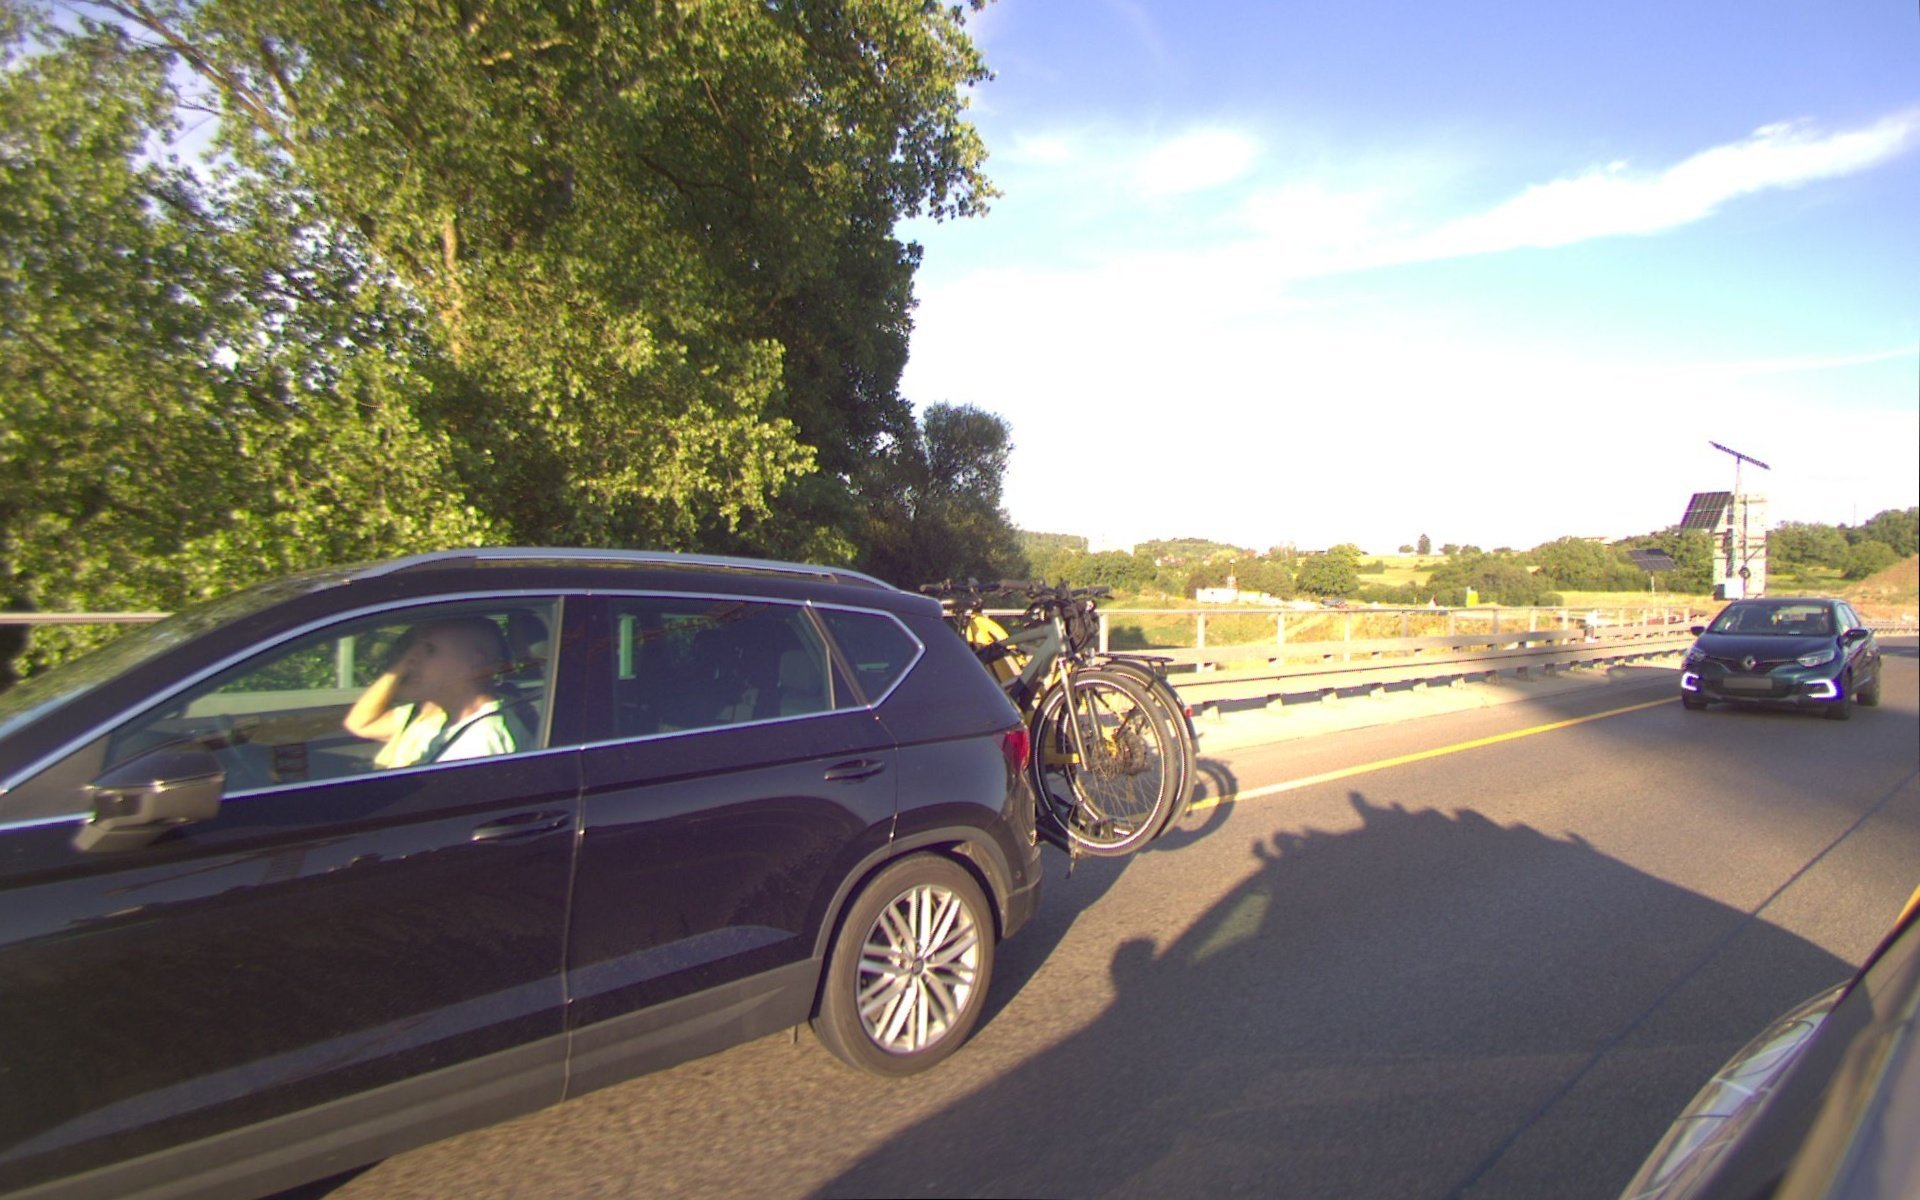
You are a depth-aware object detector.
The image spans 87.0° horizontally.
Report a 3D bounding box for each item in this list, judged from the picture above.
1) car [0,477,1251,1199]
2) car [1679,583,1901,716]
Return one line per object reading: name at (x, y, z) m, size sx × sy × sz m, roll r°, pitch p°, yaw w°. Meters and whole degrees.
car at (-1.230, 0.595, 3.312) m, size 4.879 × 1.619 × 1.878 m, roll 0°, pitch 0°, yaw -41°
car at (11.786, 0.637, 14.282) m, size 4.062 × 1.606 × 1.777 m, roll 1°, pitch -1°, yaw -41°
